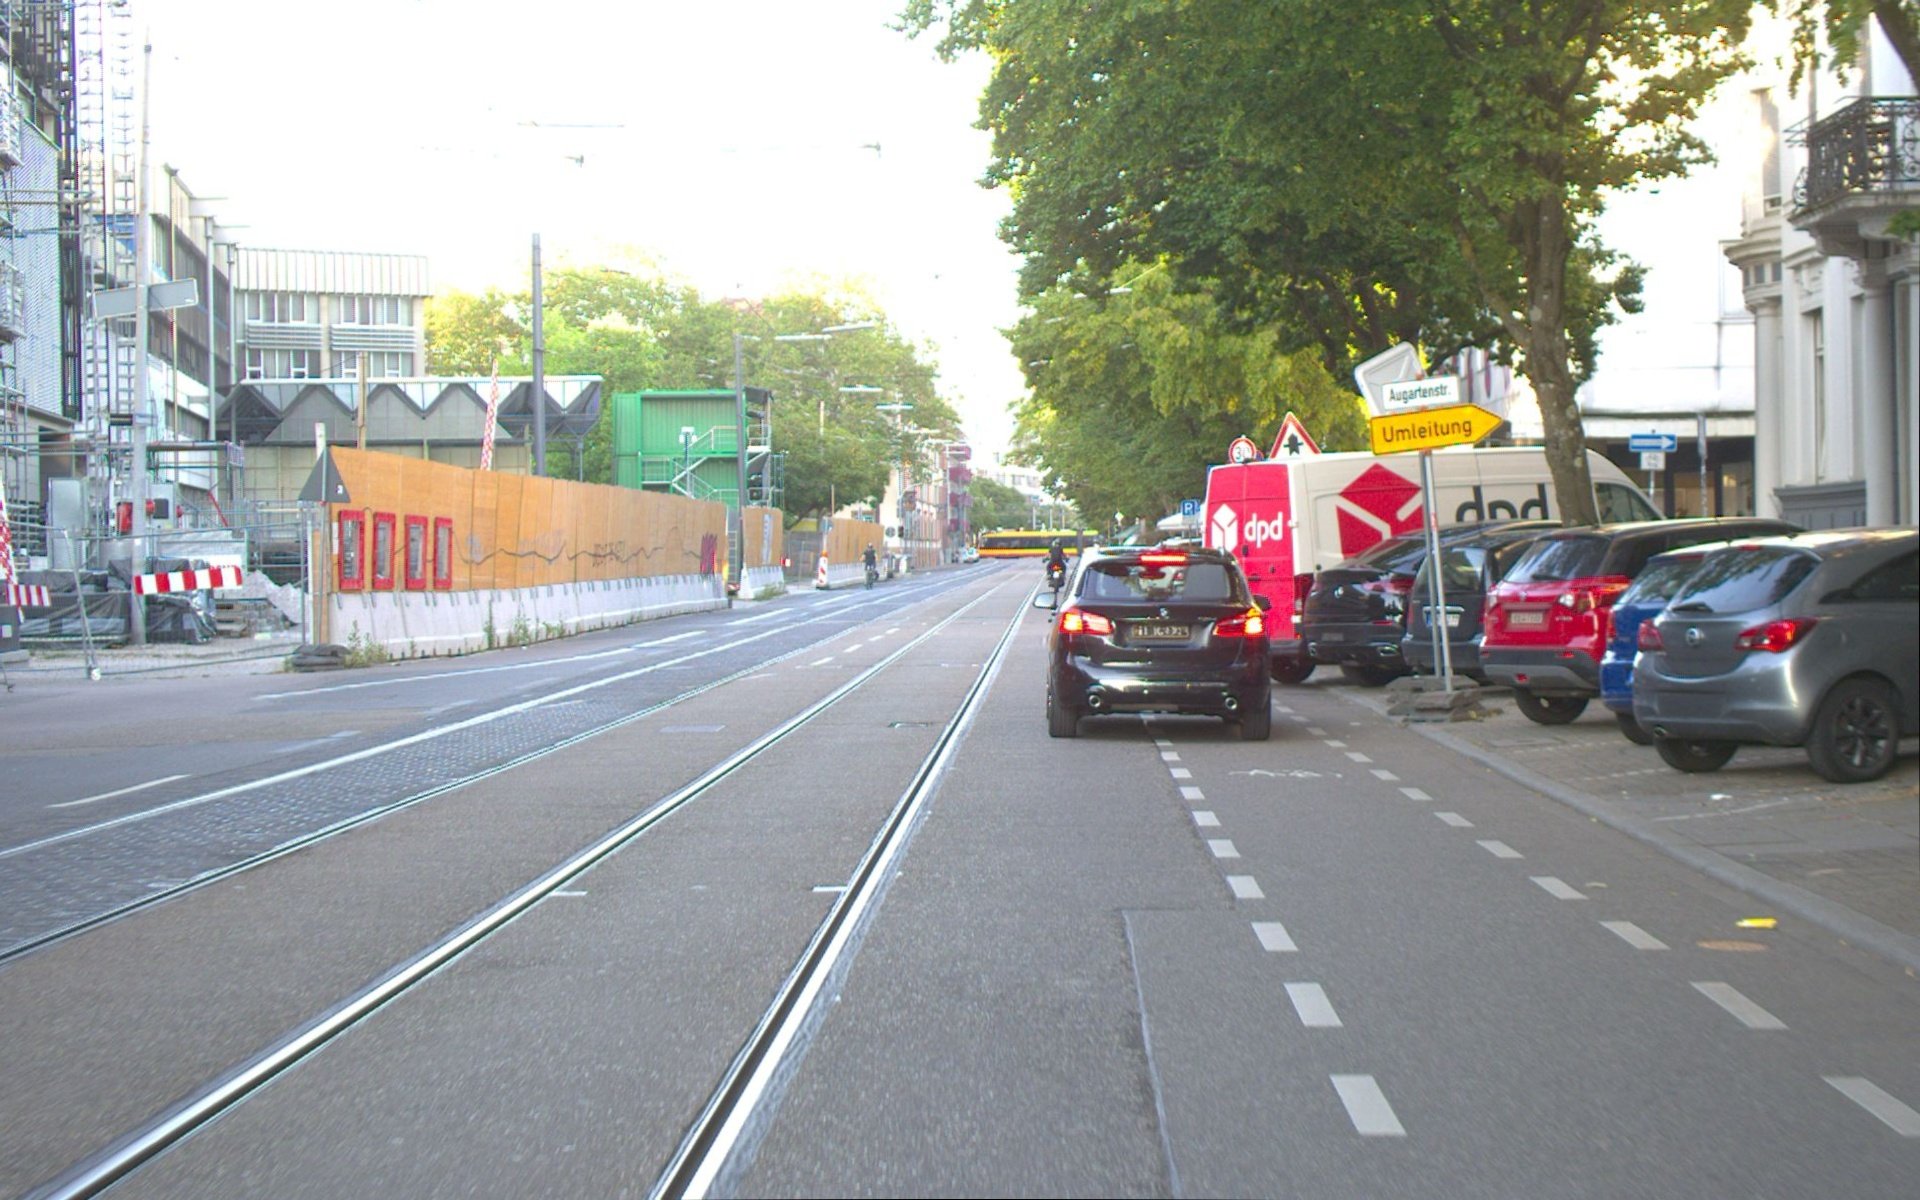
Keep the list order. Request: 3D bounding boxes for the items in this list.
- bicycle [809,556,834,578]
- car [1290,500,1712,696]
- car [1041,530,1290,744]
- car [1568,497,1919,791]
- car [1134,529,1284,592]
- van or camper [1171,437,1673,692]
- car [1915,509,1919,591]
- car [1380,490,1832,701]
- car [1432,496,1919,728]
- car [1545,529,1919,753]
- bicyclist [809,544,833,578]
[{"bbox_3d":[-5.709,-1.359,141.975,0.948,0.846,2.697,-1,1,-1],"label":"bicycle"},{"bbox_3d":[5.708,-0.035,36.291,3.941,1.759,1.841,-4,1,-24],"label":"car"},{"bbox_3d":[1.642,0.249,28.718,1.882,1.614,4.000,2,1,1],"label":"car"},{"bbox_3d":[5.952,0.173,21.325,3.942,1.598,1.840,-4,1,-30],"label":"car"},{"bbox_3d":[7.073,-1.124,97.739,3.941,1.716,1.635,-1,1,-12],"label":"car"},{"bbox_3d":[5.358,-0.431,39.508,5.532,2.522,2.086,-5,1,-33],"label":"van or camper"},{"bbox_3d":[5.535,0.342,11.801,3.941,1.598,1.841,-4,1,-21],"label":"car"},{"bbox_3d":[6.370,-0.055,33.886,3.941,1.759,1.841,-4,1,-24],"label":"car"},{"bbox_3d":[6.022,0.063,27.728,3.941,1.598,1.841,-4,1,-24],"label":"car"},{"bbox_3d":[6.162,0.251,24.706,3.640,1.440,1.659,-3,0,-33],"label":"car"},{"bbox_3d":[-5.708,-1.608,141.163,0.944,1.341,1.111,-1,1,-1],"label":"bicyclist"}]
